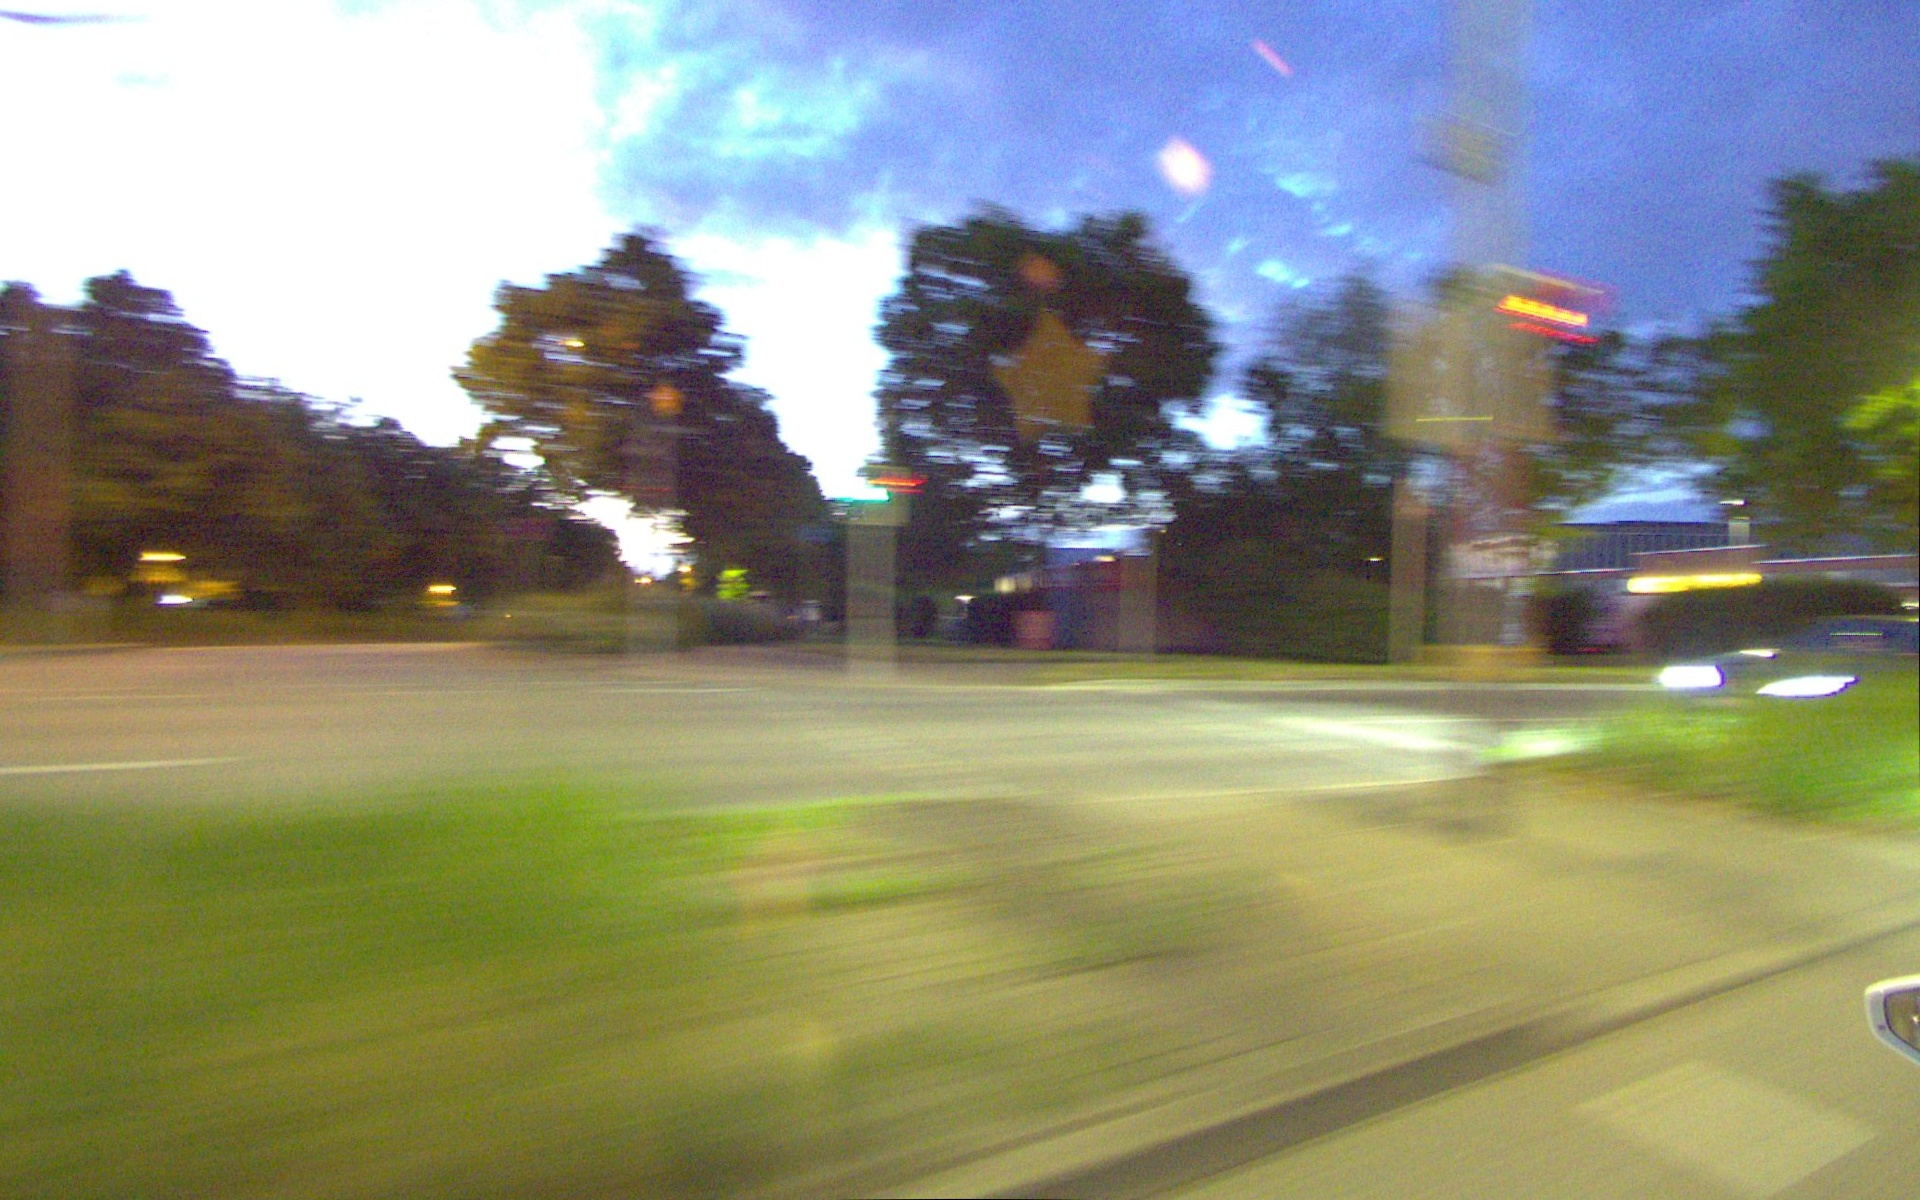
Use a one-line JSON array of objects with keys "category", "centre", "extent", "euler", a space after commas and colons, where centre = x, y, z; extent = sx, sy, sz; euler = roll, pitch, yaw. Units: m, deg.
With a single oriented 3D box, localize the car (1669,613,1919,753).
[{"category": "car", "centre": [11.074, 0.953, 12.086], "extent": [4.453, 1.465, 1.759], "euler": [2, 0, -16]}]
